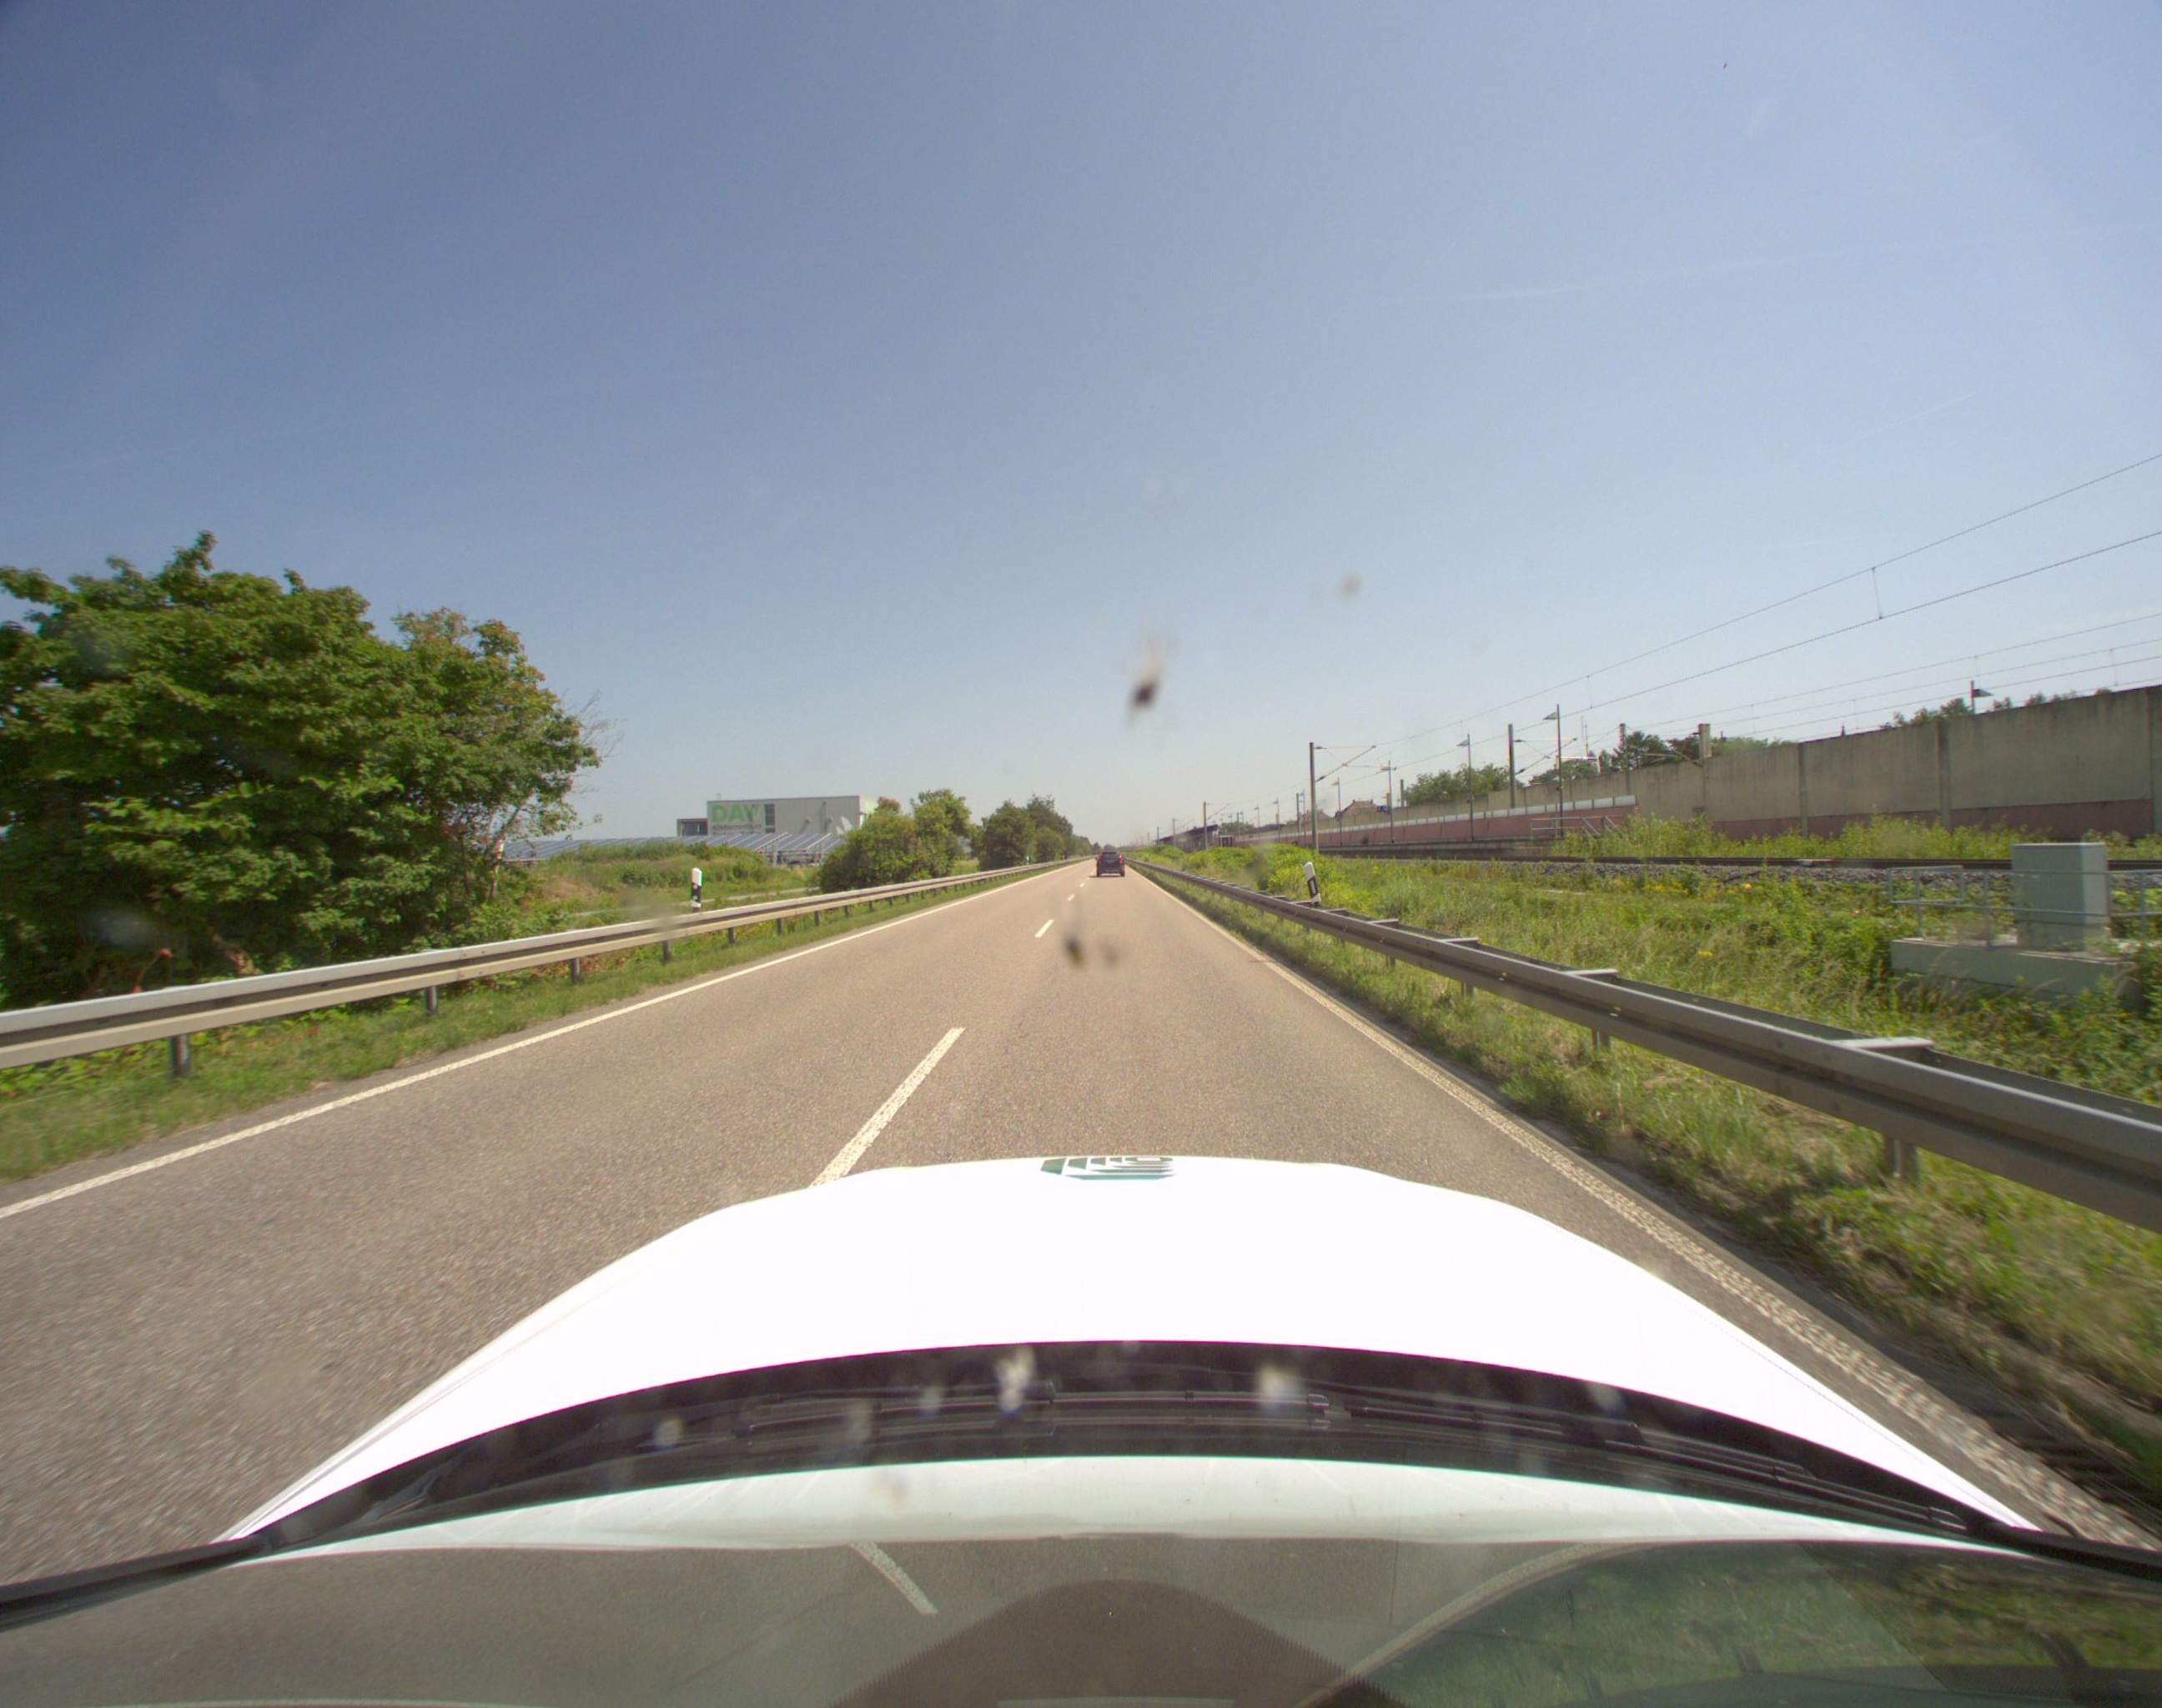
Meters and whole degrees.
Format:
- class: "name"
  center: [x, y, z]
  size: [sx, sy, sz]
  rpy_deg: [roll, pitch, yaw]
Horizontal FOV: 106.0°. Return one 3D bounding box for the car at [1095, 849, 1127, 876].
- class: "car"
  center: [1.988, 0.579, 54.709]
  size: [1.987, 1.700, 3.999]
  rpy_deg: [-1, 0, -1]
